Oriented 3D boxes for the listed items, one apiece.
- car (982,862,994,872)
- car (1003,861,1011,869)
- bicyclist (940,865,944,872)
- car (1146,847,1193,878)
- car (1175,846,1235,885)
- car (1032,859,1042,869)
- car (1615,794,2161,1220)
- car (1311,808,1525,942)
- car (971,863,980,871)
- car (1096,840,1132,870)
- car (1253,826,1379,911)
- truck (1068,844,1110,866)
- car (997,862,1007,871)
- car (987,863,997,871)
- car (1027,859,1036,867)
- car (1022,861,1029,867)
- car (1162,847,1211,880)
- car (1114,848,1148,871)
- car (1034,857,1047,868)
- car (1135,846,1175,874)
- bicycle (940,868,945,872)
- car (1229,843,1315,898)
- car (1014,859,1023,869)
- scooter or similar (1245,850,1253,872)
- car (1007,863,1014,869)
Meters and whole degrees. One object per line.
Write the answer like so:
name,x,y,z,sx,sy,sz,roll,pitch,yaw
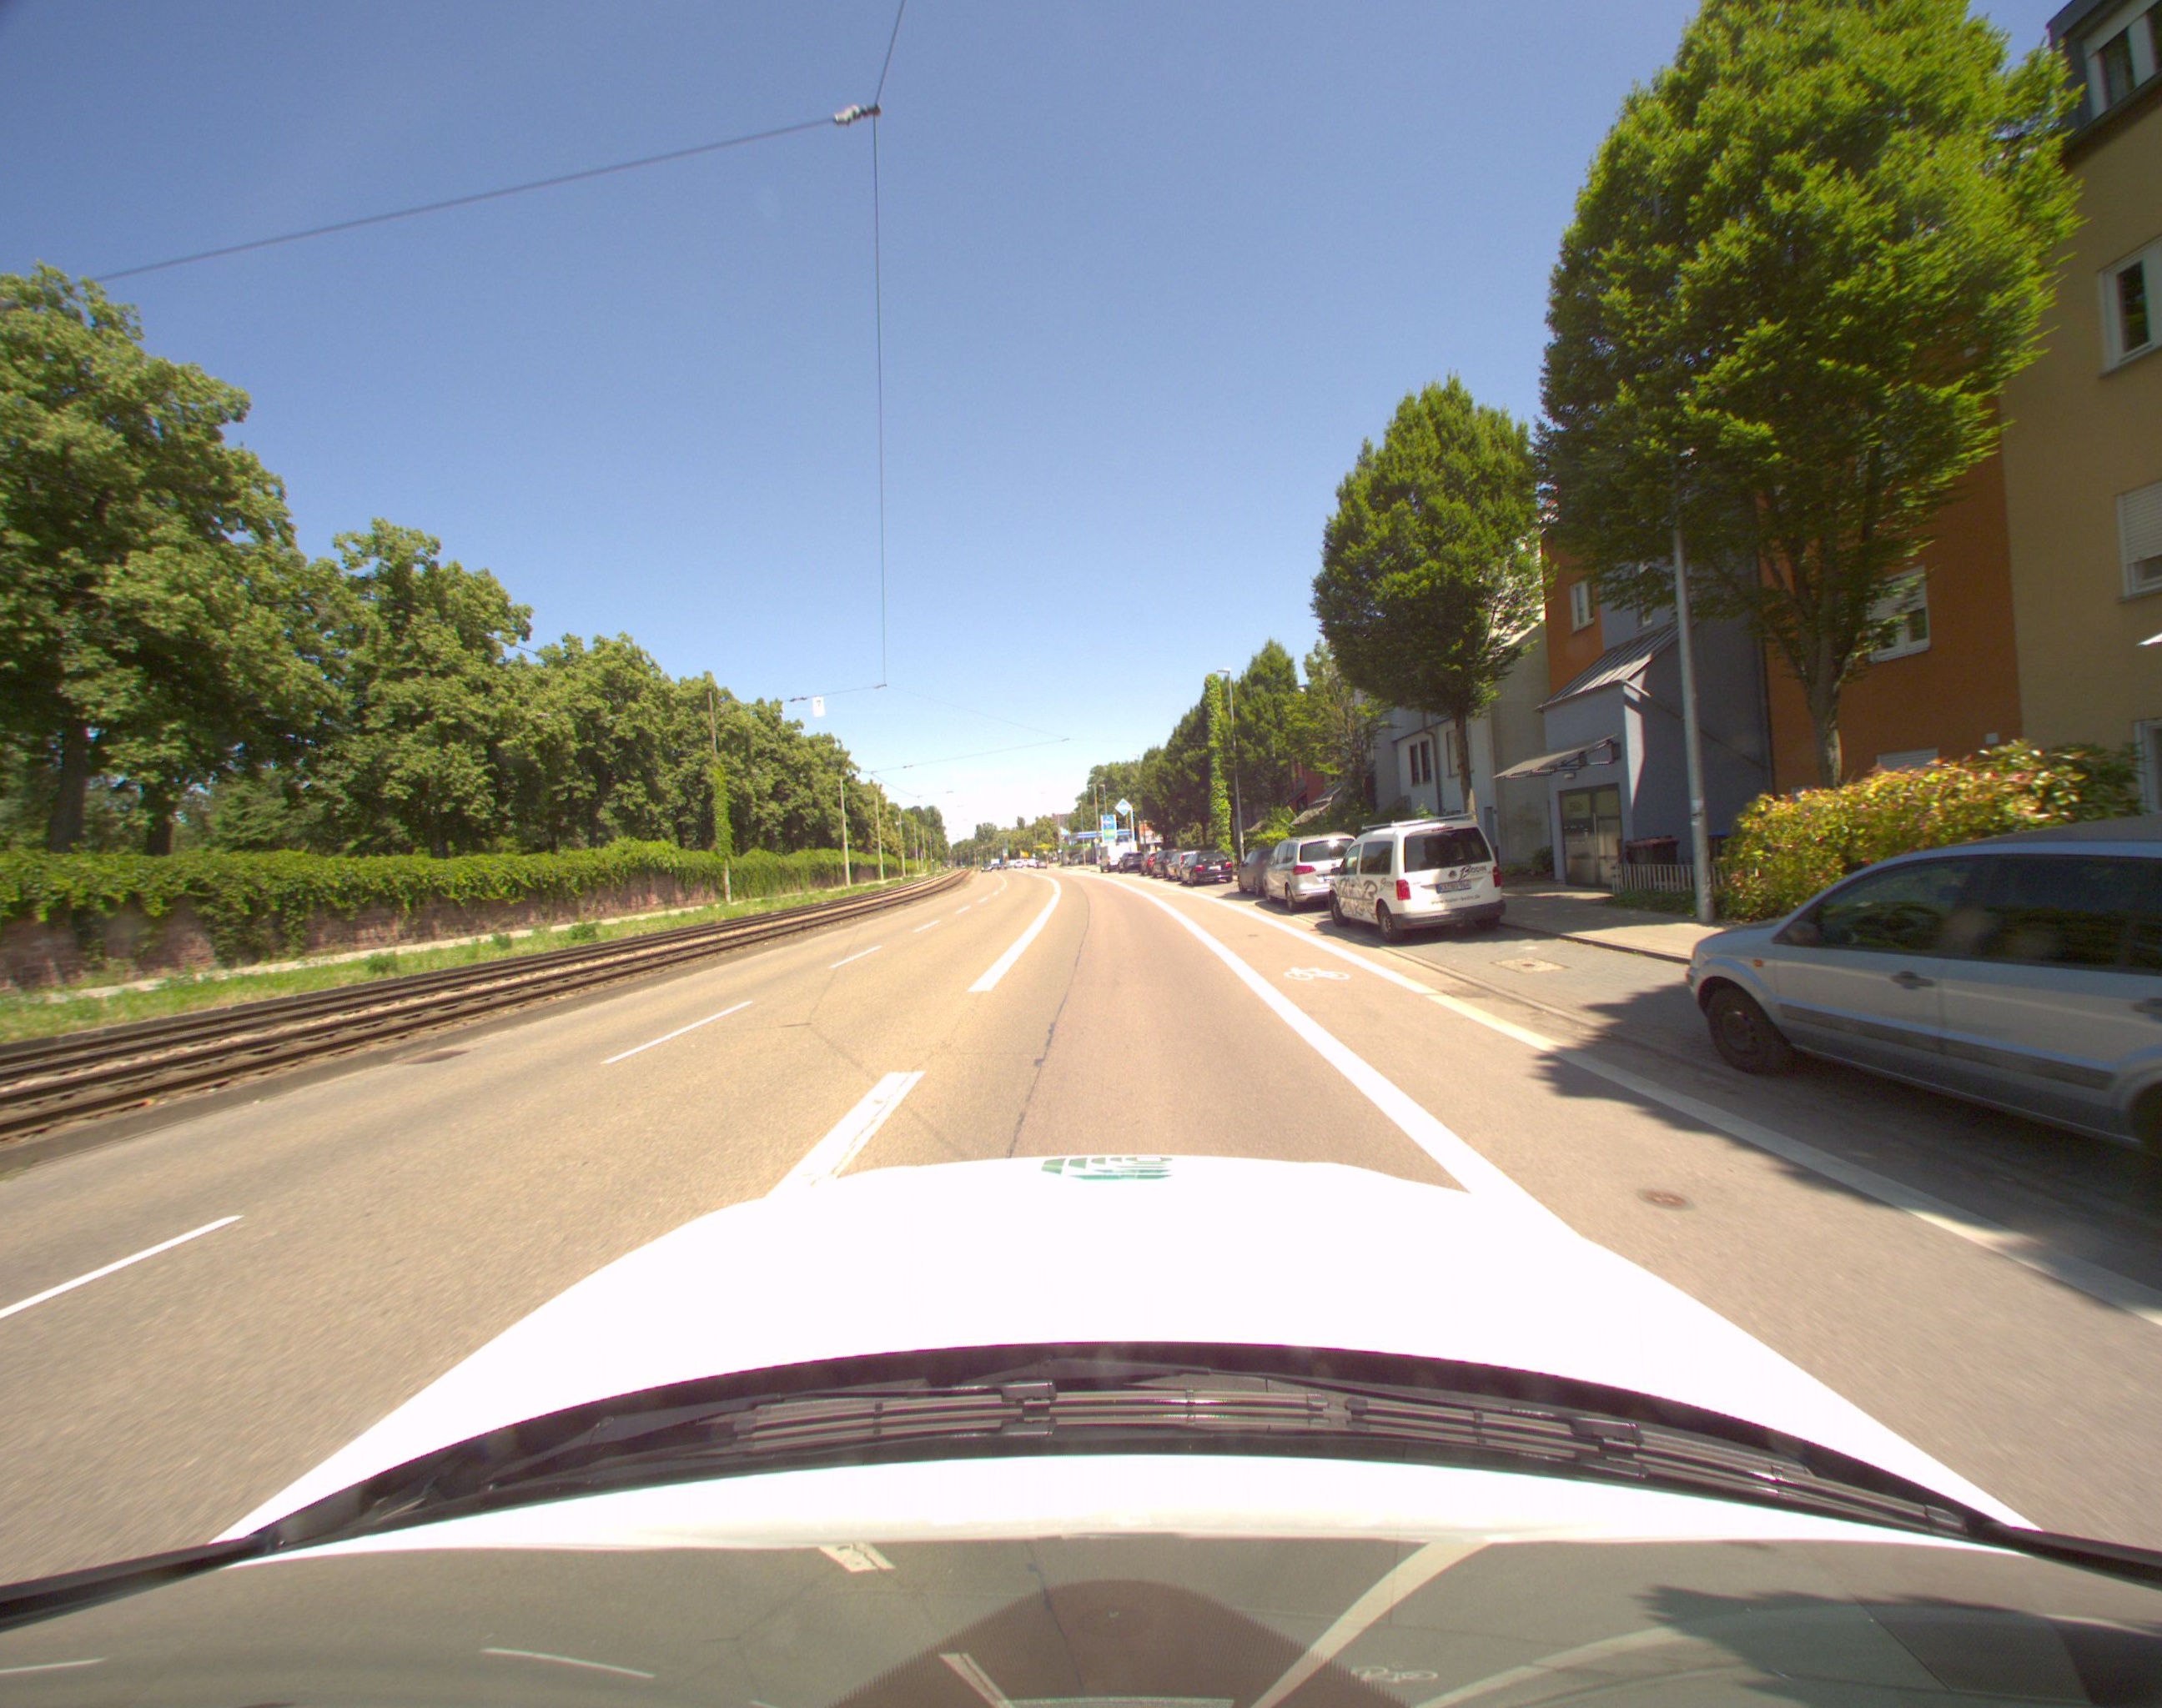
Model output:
car,-15.841,2.168,138.668,1.754,1.509,4.313,-6,0,-7
car,-16.391,2.394,180.504,1.753,1.630,4.316,-6,0,-5
bicyclist,-36.316,3.800,213.012,0.679,1.574,0.795,-9,-1,0
car,5.197,0.497,48.527,1.705,1.562,4.313,-6,0,-7
car,5.612,0.487,37.324,1.702,1.492,5.035,-6,0,-2
car,-8.928,2.034,166.589,1.753,1.630,4.316,-6,0,-5
car,5.090,0.538,4.324,1.833,1.529,4.220,-6,0,4
car,5.611,0.305,14.261,1.834,1.793,4.354,-6,0,1
car,-25.225,3.081,194.404,1.757,1.630,4.306,-6,0,-12
car,2.944,0.143,74.625,2.000,2.456,6.093,-6,0,-8
car,5.719,0.306,20.448,1.833,1.694,4.782,-6,0,3
truck,1.571,0.234,158.720,7.945,3.602,2.661,-4,0,-1
car,-15.836,2.475,163.312,1.754,1.630,4.313,-6,0,-7
car,-20.728,3.086,189.969,1.757,1.630,4.306,-6,0,-12
car,-11.208,2.024,184.784,1.754,1.630,4.313,-6,0,-7
car,-16.578,3.016,242.901,1.754,1.630,4.313,-6,0,-7
car,5.540,0.477,43.318,1.703,1.492,4.727,-6,0,-2
car,3.924,0.434,64.470,1.754,1.630,4.313,-6,0,-7
car,-7.017,1.420,141.153,1.754,1.630,4.313,-6,0,-7
car,4.904,0.400,54.456,1.705,1.562,4.315,-6,0,-5
bicycle,-36.267,4.174,213.000,0.679,1.054,2.009,-9,-1,0
car,5.945,0.467,25.813,1.579,1.423,4.179,-6,0,0
car,-14.047,2.259,183.180,1.754,1.874,4.313,-6,0,-7
scooter or similar,8.142,0.351,39.539,0.331,1.031,1.086,-2,-1,13
car,-22.402,3.848,258.093,1.754,1.630,4.313,-6,0,-7
